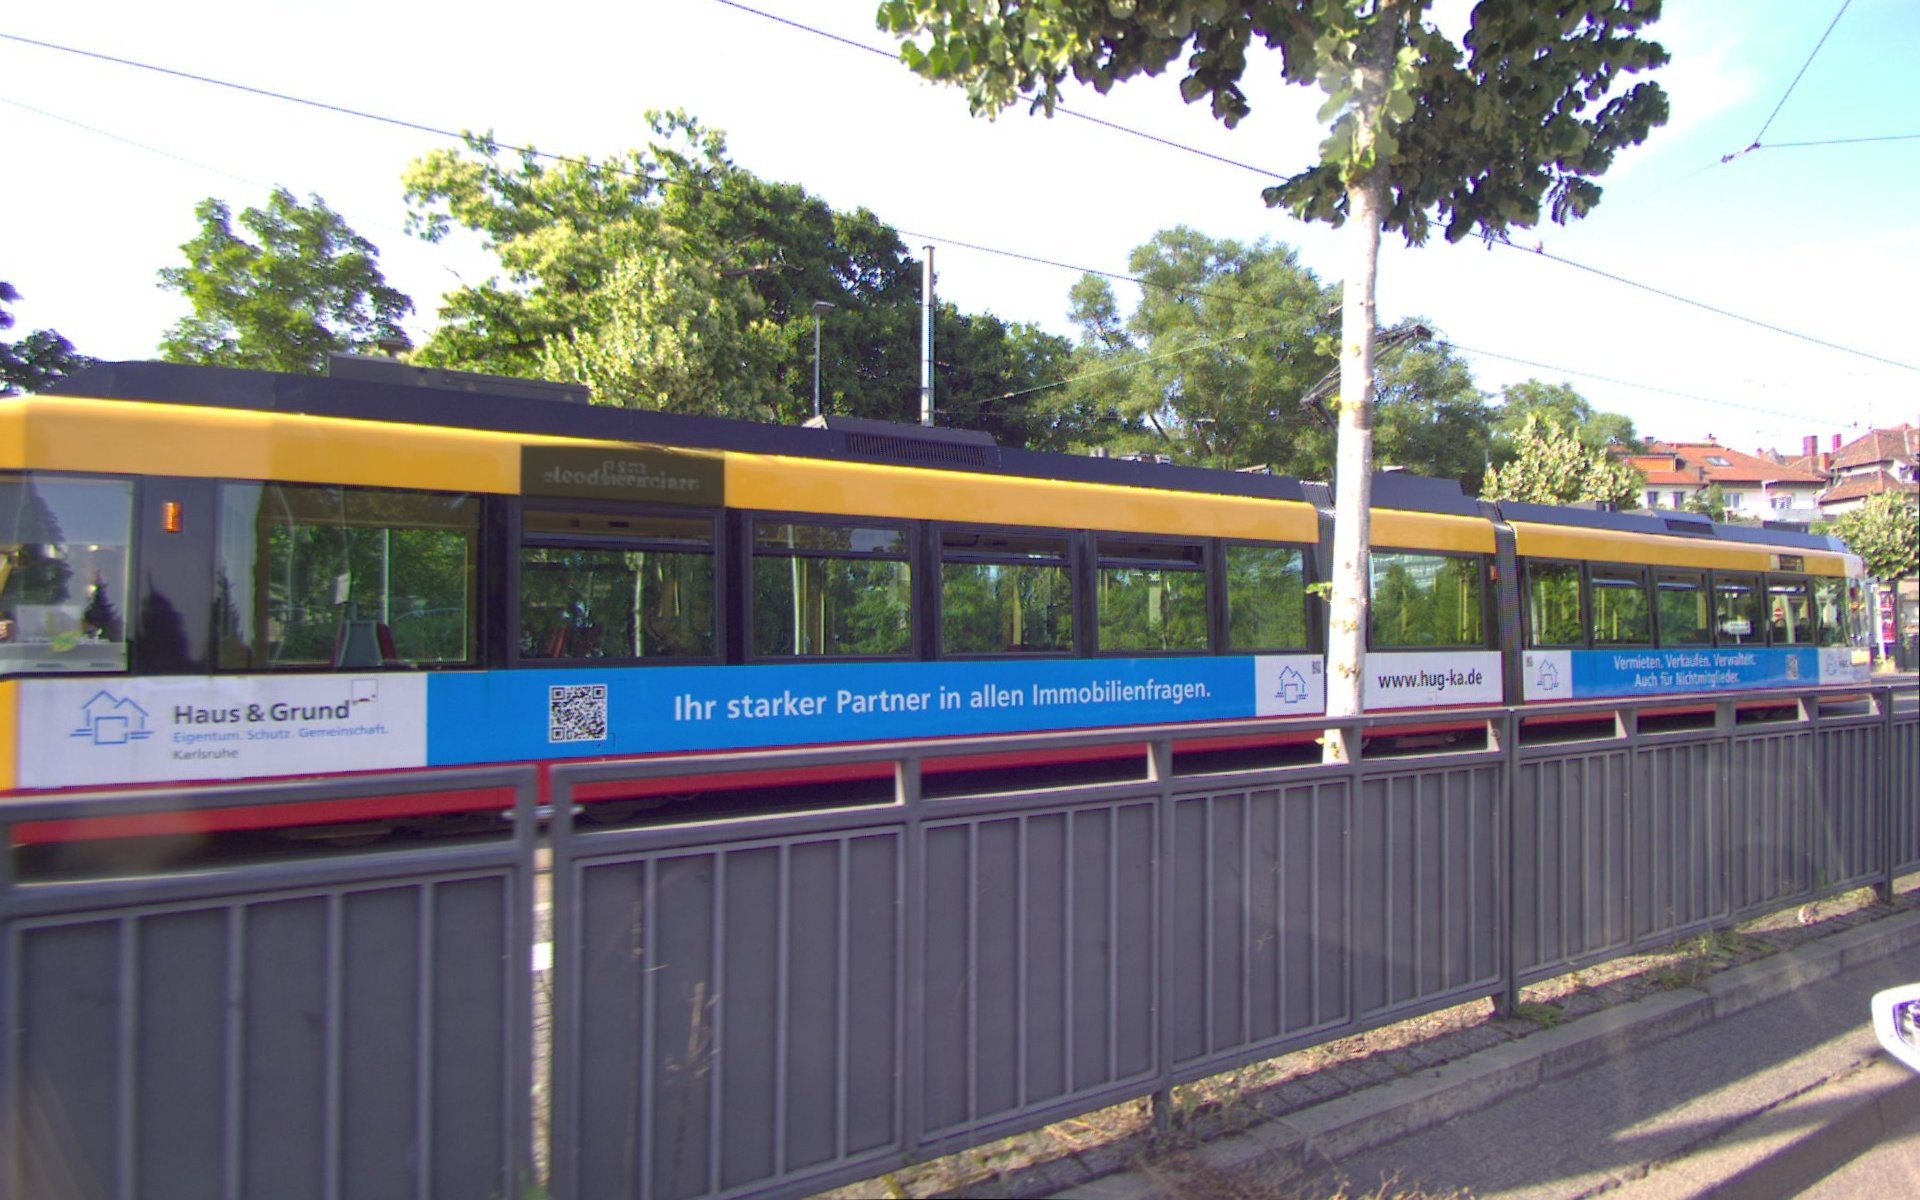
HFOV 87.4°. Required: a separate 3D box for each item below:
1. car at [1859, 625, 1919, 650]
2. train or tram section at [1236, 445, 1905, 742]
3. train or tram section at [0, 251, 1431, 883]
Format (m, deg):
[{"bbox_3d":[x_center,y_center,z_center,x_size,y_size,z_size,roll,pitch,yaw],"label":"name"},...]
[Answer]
[{"bbox_3d":[70.411,2.793,75.410,1.964,1.773,3.992,0,-1,-11],"label":"car"},{"bbox_3d":[10.999,0.008,16.903,14.299,3.525,3.147,1,-1,-30],"label":"train or tram section"},{"bbox_3d":[-1.395,-0.117,9.707,14.358,3.525,3.147,1,-1,-30],"label":"train or tram section"}]
